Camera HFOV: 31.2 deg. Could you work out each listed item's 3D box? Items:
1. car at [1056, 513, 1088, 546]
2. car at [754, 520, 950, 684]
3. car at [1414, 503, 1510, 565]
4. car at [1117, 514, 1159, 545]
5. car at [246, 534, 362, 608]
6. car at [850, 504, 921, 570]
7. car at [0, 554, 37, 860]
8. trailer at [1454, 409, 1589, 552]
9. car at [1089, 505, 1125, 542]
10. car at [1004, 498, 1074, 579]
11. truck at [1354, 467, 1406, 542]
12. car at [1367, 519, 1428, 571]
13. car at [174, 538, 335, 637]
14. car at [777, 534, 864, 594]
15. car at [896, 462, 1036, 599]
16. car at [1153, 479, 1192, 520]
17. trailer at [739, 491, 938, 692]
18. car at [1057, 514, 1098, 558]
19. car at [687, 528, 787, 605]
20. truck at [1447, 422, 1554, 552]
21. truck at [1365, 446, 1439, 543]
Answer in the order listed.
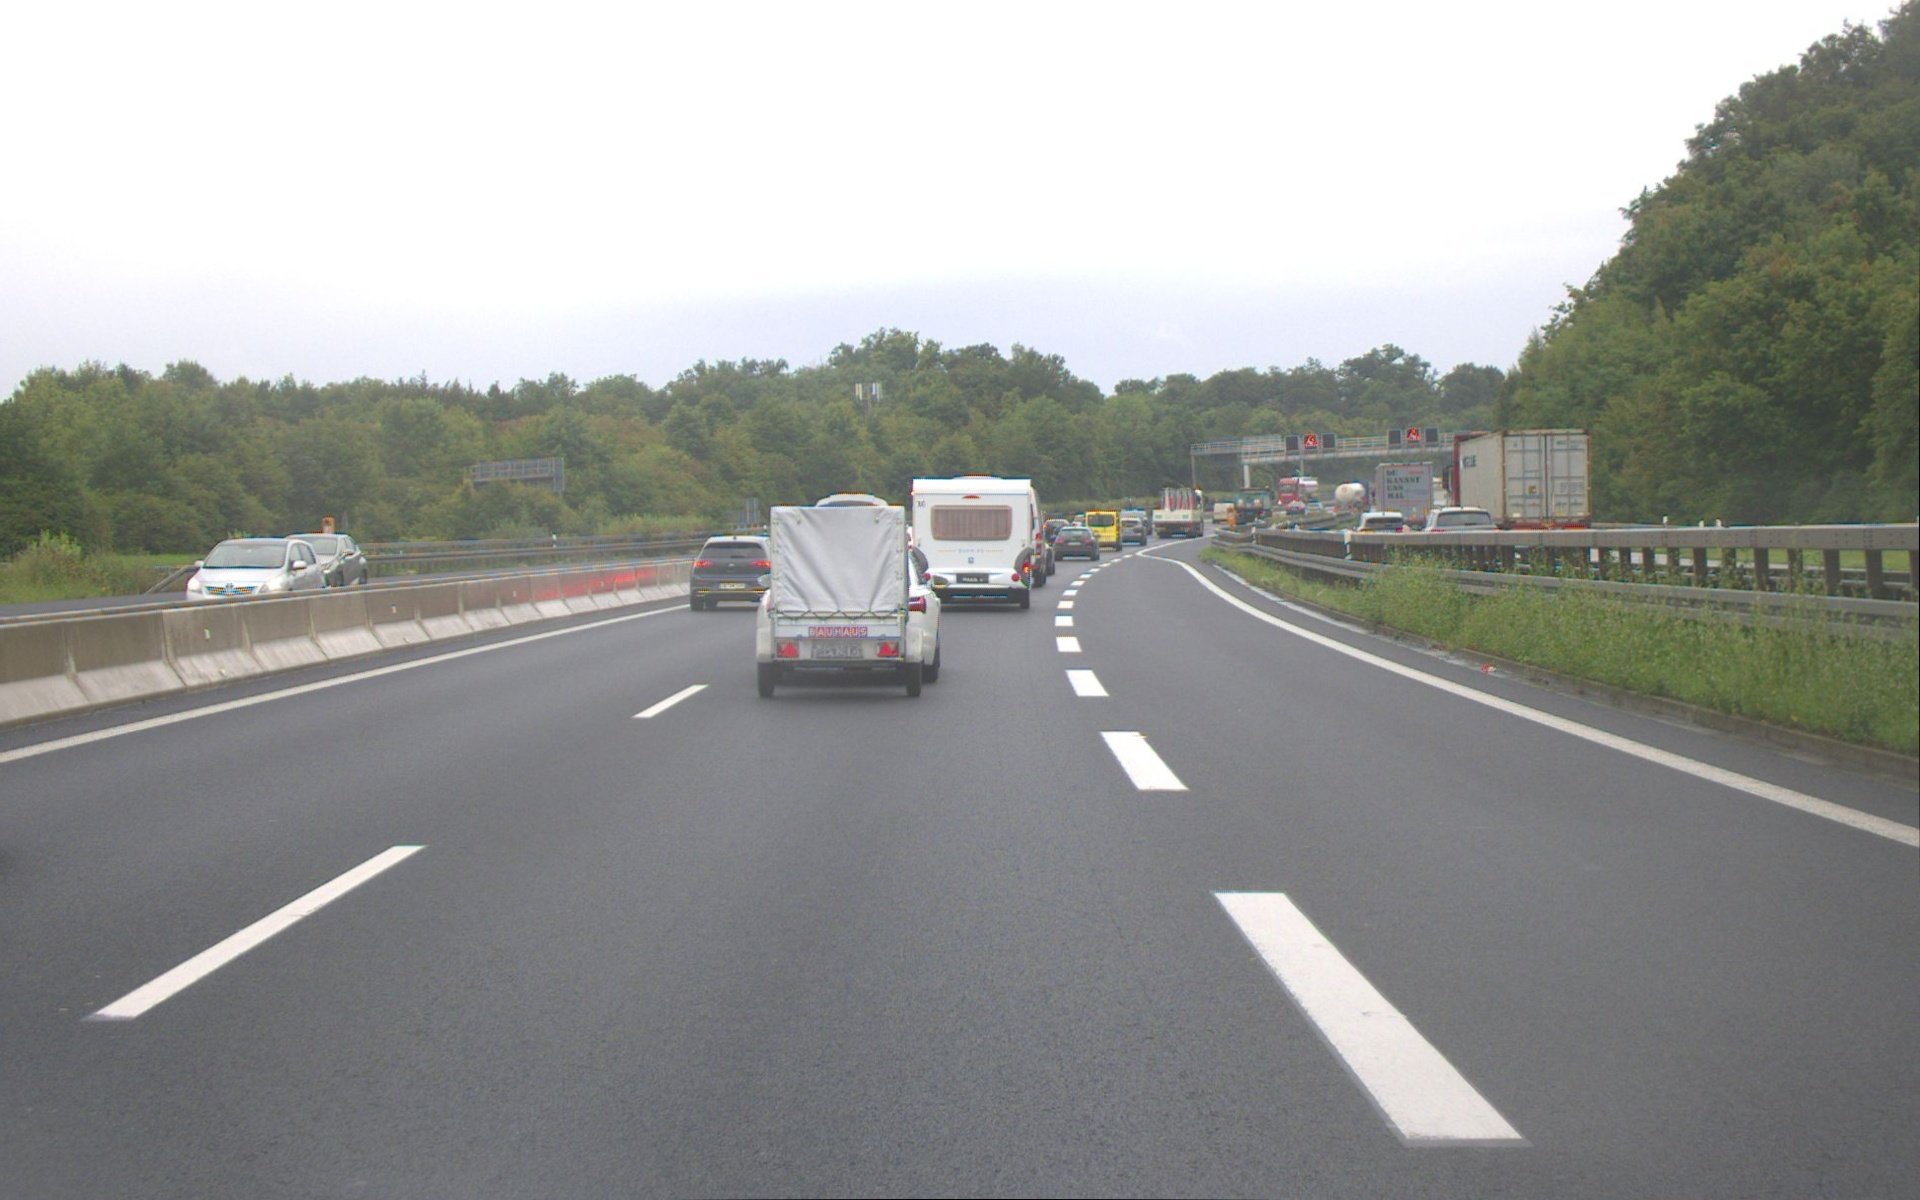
[{"bbox_3d":[7.092,-4.461,217.392,1.993,2.007,4.000,-1,1,2],"label":"car"},{"bbox_3d":[-1.081,-0.012,36.663,1.818,1.610,4.778,-1,1,1],"label":"car"},{"bbox_3d":[11.975,-1.572,82.193,1.667,1.378,4.126,-3,1,1],"label":"car"},{"bbox_3d":[9.998,-3.971,193.201,2.038,1.677,3.999,-1,1,7],"label":"car"},{"bbox_3d":[-15.256,-0.687,80.135,1.891,1.644,4.603,-1,1,-1],"label":"car"},{"bbox_3d":[-2.226,-1.887,103.400,1.993,1.912,4.000,-1,1,0],"label":"car"},{"bbox_3d":[-5.477,0.544,14.581,1.818,1.451,4.778,-1,1,0],"label":"car"},{"bbox_3d":[16.320,-3.374,100.695,2.604,3.881,12.489,-1,1,3],"label":"trailer"},{"bbox_3d":[7.378,-3.829,172.366,1.676,1.806,4.000,-1,1,4],"label":"car"},{"bbox_3d":[2.078,-1.622,90.836,1.675,2.060,4.000,-1,1,-1],"label":"car"},{"bbox_3d":[27.218,-6.119,222.385,3.216,4.650,13.029,-1,1,7],"label":"truck"},{"bbox_3d":[14.151,-1.783,111.477,1.770,1.604,4.643,-1,1,5],"label":"car"},{"bbox_3d":[-12.752,-0.242,62.385,1.993,1.705,4.303,-1,1,0],"label":"car"},{"bbox_3d":[-3.473,-0.904,86.140,1.765,1.451,4.000,-1,1,4],"label":"car"},{"bbox_3d":[0.178,-1.358,68.293,2.508,2.576,5.699,-1,1,3],"label":"car"},{"bbox_3d":[14.137,-6.635,228.052,2.516,2.566,5.311,-1,1,4],"label":"car"},{"bbox_3d":[-1.119,-0.103,33.335,1.676,1.806,4.000,-1,1,1],"label":"trailer"},{"bbox_3d":[4.912,-2.653,143.522,1.676,1.806,4.000,-1,1,3],"label":"car"},{"bbox_3d":[-4.396,-0.665,68.176,1.676,1.451,4.000,-1,1,0],"label":"car"},{"bbox_3d":[16.685,-3.441,106.501,2.616,3.871,6.391,-1,1,3],"label":"truck"},{"bbox_3d":[22.395,-5.275,174.724,3.216,4.650,13.030,-1,1,5],"label":"truck"}]
